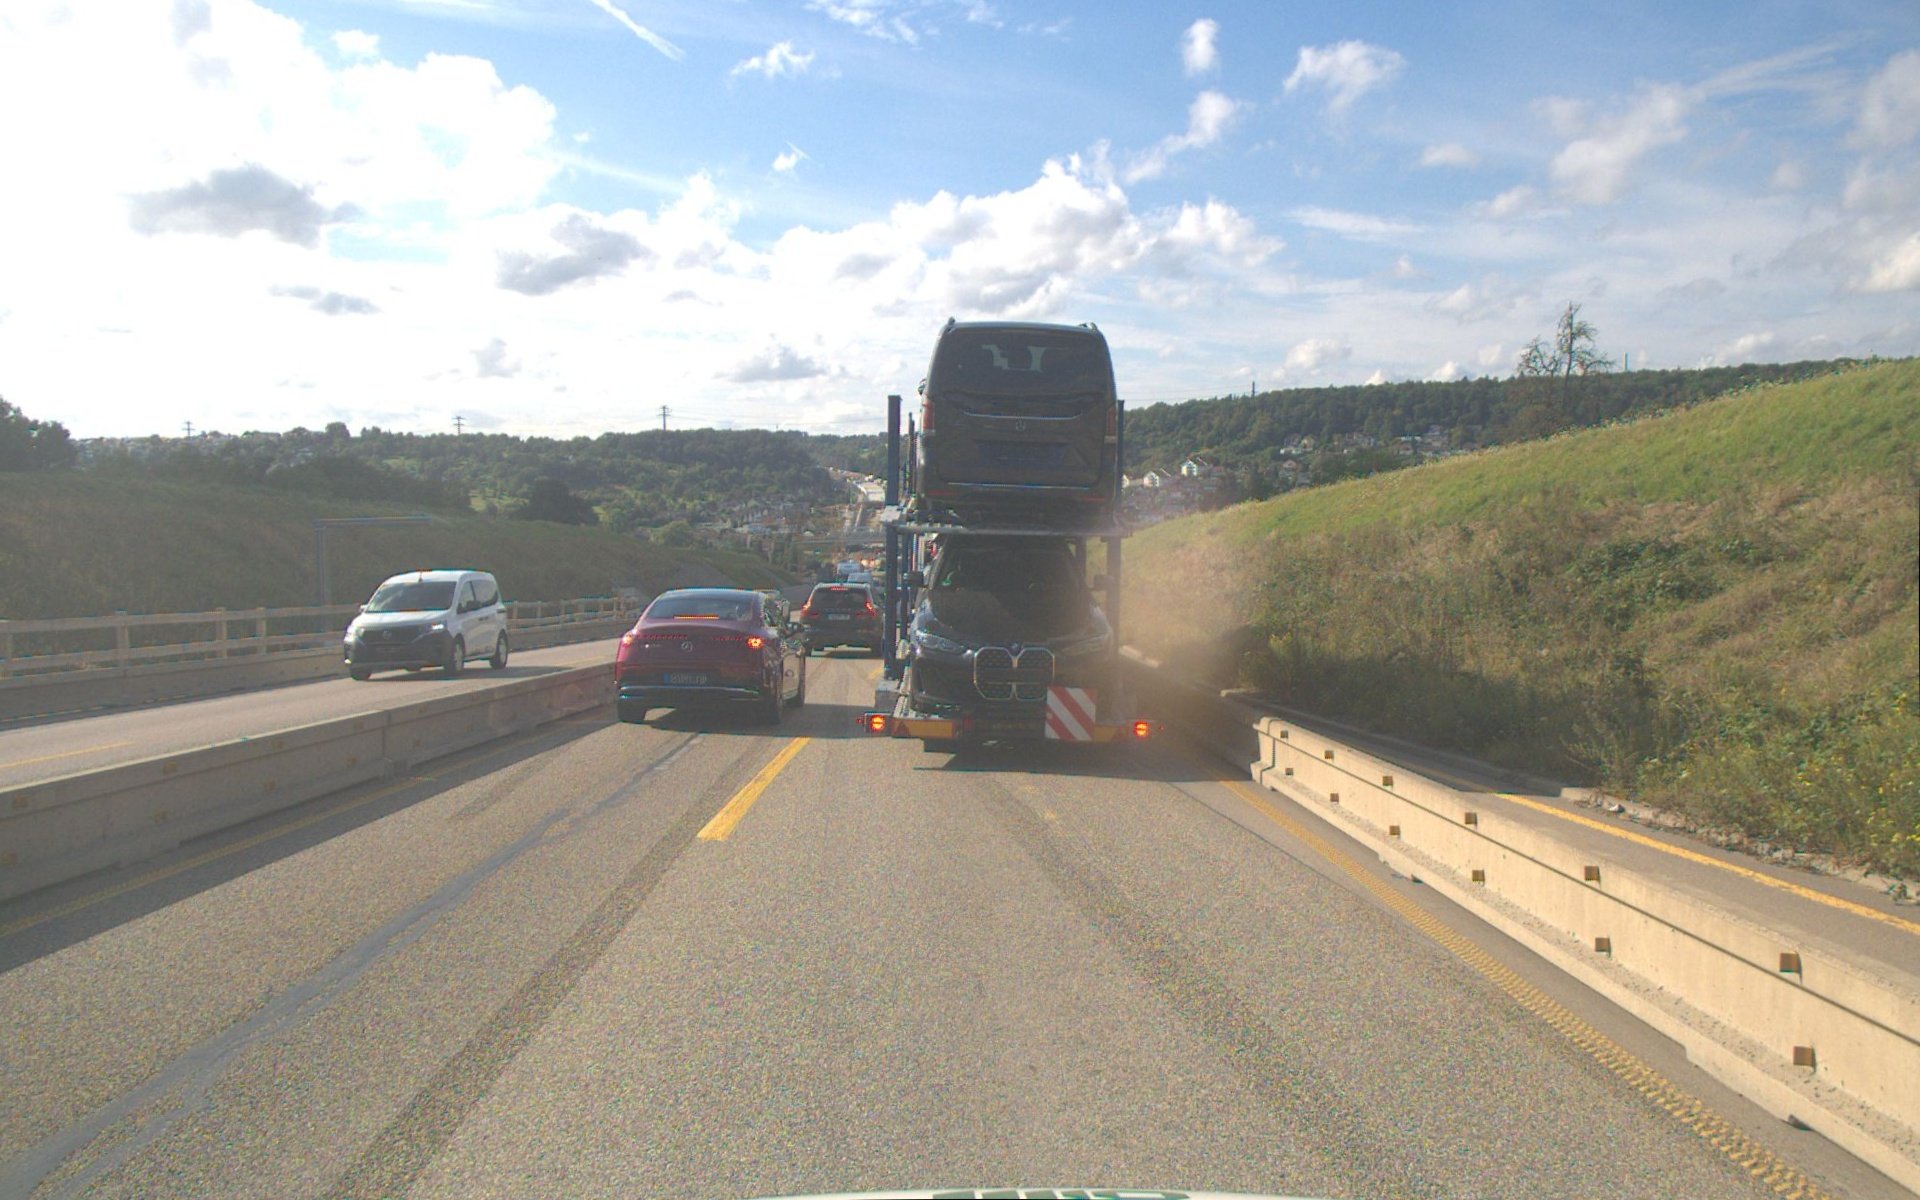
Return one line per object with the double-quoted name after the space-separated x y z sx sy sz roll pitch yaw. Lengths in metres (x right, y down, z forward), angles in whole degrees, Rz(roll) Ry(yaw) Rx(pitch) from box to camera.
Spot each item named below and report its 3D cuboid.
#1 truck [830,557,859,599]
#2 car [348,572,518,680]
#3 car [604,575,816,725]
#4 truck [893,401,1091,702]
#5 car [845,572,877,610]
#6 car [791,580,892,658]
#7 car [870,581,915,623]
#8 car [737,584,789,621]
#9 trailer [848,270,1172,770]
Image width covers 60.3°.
-11.662 -2.207 167.353 2.561 4.226 5.781 0 0 0 "truck"
-9.171 0.385 29.135 1.699 1.688 4.216 -3 1 -2 "car"
-2.810 0.490 19.600 1.786 1.518 4.684 1 1 0 "car"
0.456 -0.664 24.886 2.623 3.990 6.028 0 0 1 "truck"
-8.039 -0.714 134.480 2.067 2.885 6.138 -3 0 0 "car"
-2.692 0.387 38.538 1.953 1.653 4.750 1 1 0 "car"
-2.731 0.055 67.502 1.760 1.624 4.741 0 1 -2 "car"
-8.436 0.115 71.150 1.699 1.450 4.626 -3 0 -1 "car"
0.444 -0.700 19.288 2.652 4.099 11.420 0 0 0 "trailer"
